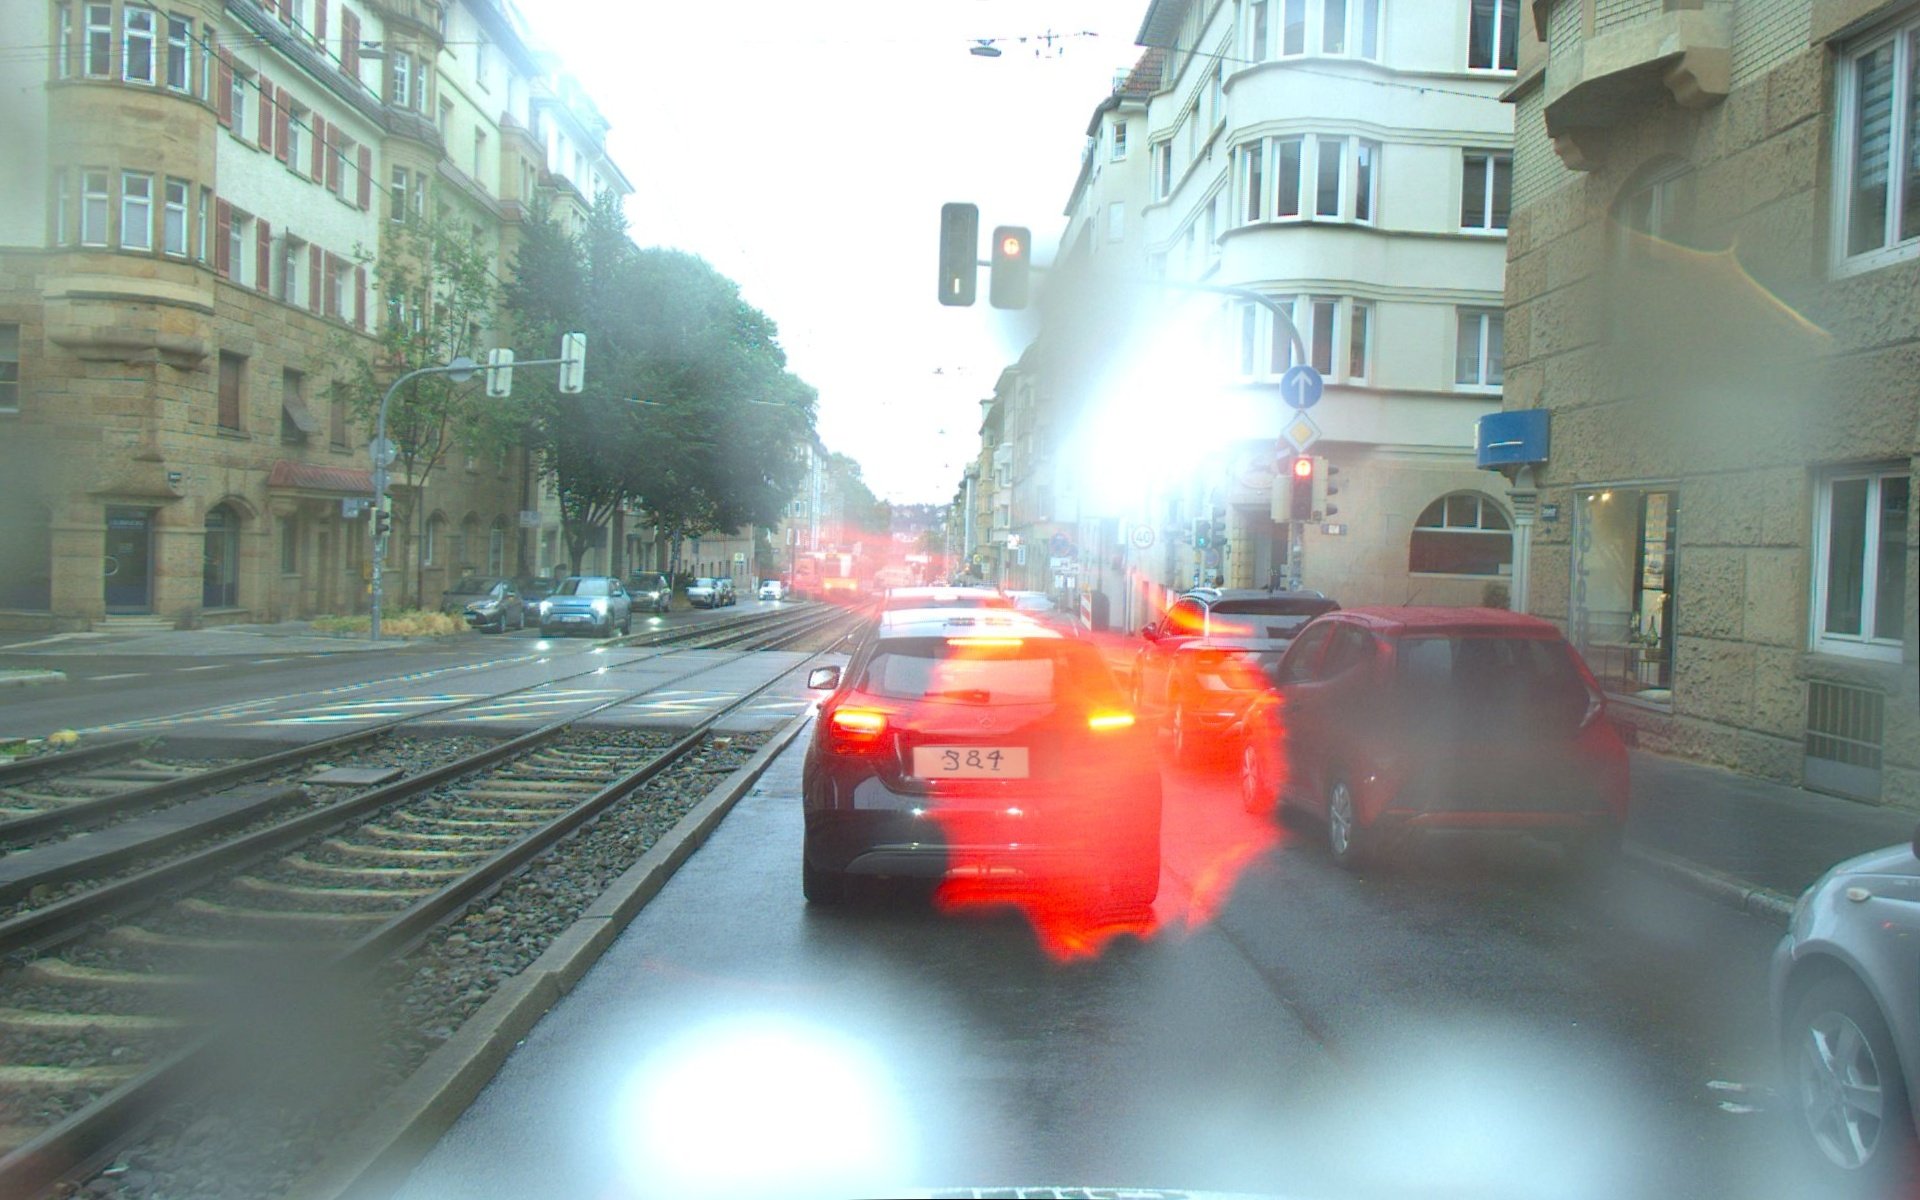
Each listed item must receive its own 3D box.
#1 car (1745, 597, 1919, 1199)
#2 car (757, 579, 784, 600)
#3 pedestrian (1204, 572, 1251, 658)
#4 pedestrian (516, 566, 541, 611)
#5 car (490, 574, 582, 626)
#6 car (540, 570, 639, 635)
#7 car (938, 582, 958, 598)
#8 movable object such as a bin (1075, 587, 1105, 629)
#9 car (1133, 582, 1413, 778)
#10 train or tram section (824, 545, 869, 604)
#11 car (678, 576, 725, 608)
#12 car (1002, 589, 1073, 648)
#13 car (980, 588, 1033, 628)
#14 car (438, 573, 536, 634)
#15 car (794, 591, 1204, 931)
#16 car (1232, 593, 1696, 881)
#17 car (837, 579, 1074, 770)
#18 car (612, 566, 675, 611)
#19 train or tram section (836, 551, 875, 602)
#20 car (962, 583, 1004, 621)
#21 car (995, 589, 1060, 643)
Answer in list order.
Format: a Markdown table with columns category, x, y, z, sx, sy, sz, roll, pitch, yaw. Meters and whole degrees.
| category | x | y | z | sx | sy | sz | roll | pitch | yaw |
| --- | --- | --- | --- | --- | --- | --- | --- | --- | --- |
| car | 3.088 | 0.764 | 3.064 | 1.562 | 1.513 | 3.521 | 0 | 0 | -1 |
| car | -14.492 | -0.768 | 126.531 | 1.745 | 1.529 | 4.060 | 1 | 0 | -3 |
| pedestrian | 5.392 | 0.300 | 33.373 | 0.788 | 1.717 | 0.754 | 1 | -1 | -2 |
| pedestrian | -16.535 | -0.449 | 63.432 | 0.713 | 1.692 | 0.770 | 2 | 0 | -2 |
| car | -13.009 | 0.006 | 51.048 | 1.745 | 1.485 | 4.976 | 1 | 0 | -3 |
| car | -9.975 | 0.074 | 44.782 | 1.883 | 1.646 | 4.126 | 1 | 0 | -3 |
| car | -1.203 | -0.966 | 163.518 | 1.848 | 1.552 | 4.246 | 2 | 0 | 1 |
| movable object such as a bin | 4.696 | 0.279 | 59.832 | 0.960 | 1.494 | 1.272 | 1 | 0 | -2 |
| car | 2.827 | 0.665 | 15.816 | 1.830 | 1.576 | 3.990 | 2 | 0 | -1 |
| train or tram section | -8.505 | -1.927 | 125.987 | 2.690 | 4.132 | 17.208 | 1 | 1 | -2 |
| car | -13.917 | -0.444 | 89.252 | 1.922 | 1.633 | 4.327 | 2 | 1 | -2 |
| car | 2.003 | 0.470 | 43.643 | 1.675 | 1.435 | 4.817 | 1 | 0 | 1 |
| car | 1.721 | 0.312 | 61.925 | 1.753 | 1.410 | 4.394 | 1 | 0 | -1 |
| car | -12.947 | 0.104 | 45.493 | 1.656 | 1.556 | 4.173 | 1 | 0 | -3 |
| car | 0.148 | 0.711 | 9.304 | 1.797 | 1.478 | 3.901 | 1 | 0 | -1 |
| car | 2.975 | 0.723 | 10.545 | 1.672 | 1.478 | 3.530 | 2 | 0 | -3 |
| car | -0.066 | 0.622 | 16.118 | 1.953 | 1.552 | 4.245 | 2 | 0 | -1 |
| car | -13.722 | -0.522 | 71.948 | 1.914 | 1.772 | 4.777 | 4 | 1 | -3 |
| train or tram section | -8.900 | -2.017 | 142.239 | 2.690 | 4.132 | 15.656 | 1 | 1 | -2 |
| car | 1.047 | 0.115 | 74.497 | 1.803 | 1.636 | 4.761 | 1 | 0 | 1 |
| car | 1.952 | 0.448 | 49.010 | 1.677 | 1.493 | 4.773 | 1 | 0 | -1 |
